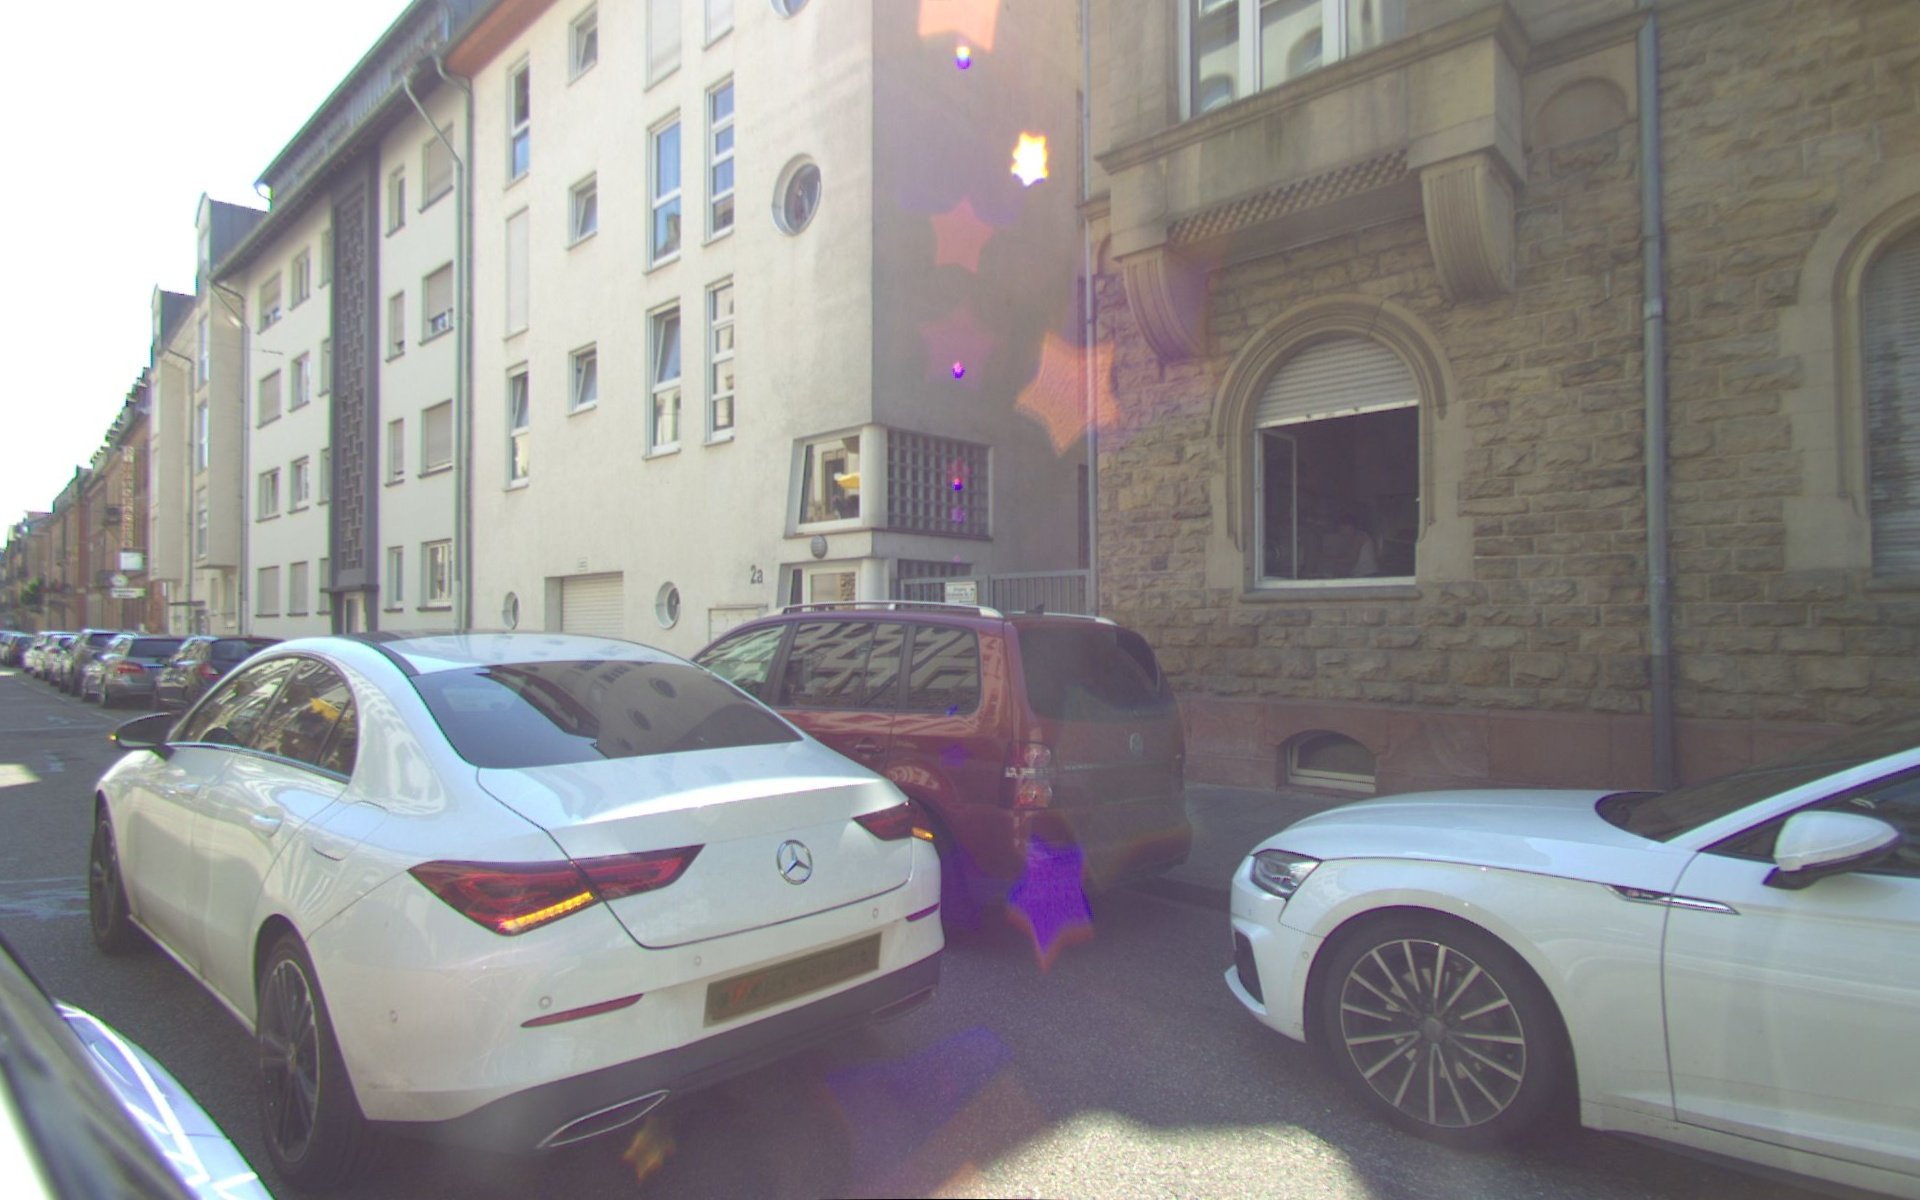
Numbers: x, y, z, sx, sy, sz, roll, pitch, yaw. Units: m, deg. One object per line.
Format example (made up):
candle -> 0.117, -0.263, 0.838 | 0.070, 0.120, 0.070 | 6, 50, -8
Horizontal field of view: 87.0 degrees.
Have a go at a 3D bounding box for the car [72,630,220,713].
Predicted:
car -> -16.991, 1.424, 21.038 | 4.671, 1.530, 1.638 | -2, -4, 43

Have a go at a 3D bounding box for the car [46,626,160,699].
car -> -21.108, 1.509, 24.883 | 3.976, 1.657, 1.586 | -2, -4, 43

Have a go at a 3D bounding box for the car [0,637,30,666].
car -> -52.618, 2.824, 55.860 | 3.525, 1.484, 1.431 | -2, -6, 42

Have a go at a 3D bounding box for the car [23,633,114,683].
car -> -29.477, 1.901, 33.410 | 4.348, 1.506, 1.711 | -2, -5, 43

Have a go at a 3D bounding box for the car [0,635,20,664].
car -> -57.116, 2.908, 60.127 | 3.525, 1.655, 1.430 | -2, -6, 43

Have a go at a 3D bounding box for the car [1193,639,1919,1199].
car -> 3.039, 0.825, 2.581 | 4.512, 1.363, 1.684 | -1, -4, 40

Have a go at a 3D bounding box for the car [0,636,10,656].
car -> -72.987, 3.415, 74.781 | 1.678, 1.441, 3.942 | -2, -3, 44

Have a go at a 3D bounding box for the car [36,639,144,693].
car -> -24.706, 1.838, 28.687 | 4.348, 1.404, 1.746 | -1, -4, 43

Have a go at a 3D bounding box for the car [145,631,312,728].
car -> -12.836, 1.320, 17.683 | 3.893, 1.503, 1.550 | -2, -4, 43

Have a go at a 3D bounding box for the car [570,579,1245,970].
car -> -0.538, 0.795, 6.127 | 4.051, 1.595, 1.655 | -1, -4, 41

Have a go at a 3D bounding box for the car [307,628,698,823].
car -> -4.546, 1.040, 9.768 | 4.276, 1.471, 1.758 | -1, -4, 41

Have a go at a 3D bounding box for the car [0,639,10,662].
car -> -60.742, 3.135, 63.470 | 3.527, 1.410, 1.430 | -2, -7, 44

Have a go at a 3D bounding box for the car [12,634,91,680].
car -> -34.457, 2.152, 38.357 | 3.850, 1.561, 1.612 | -1, -6, 40

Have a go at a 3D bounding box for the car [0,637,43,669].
car -> -46.044, 2.589, 49.399 | 3.680, 1.440, 1.610 | -2, -7, 45

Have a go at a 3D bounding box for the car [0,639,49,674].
car -> -42.364, 2.497, 45.523 | 3.838, 1.440, 1.757 | -2, -7, 45

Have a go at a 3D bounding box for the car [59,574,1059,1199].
car -> -1.920, 0.784, 3.901 | 4.362, 1.472, 1.821 | -1, -4, 43
